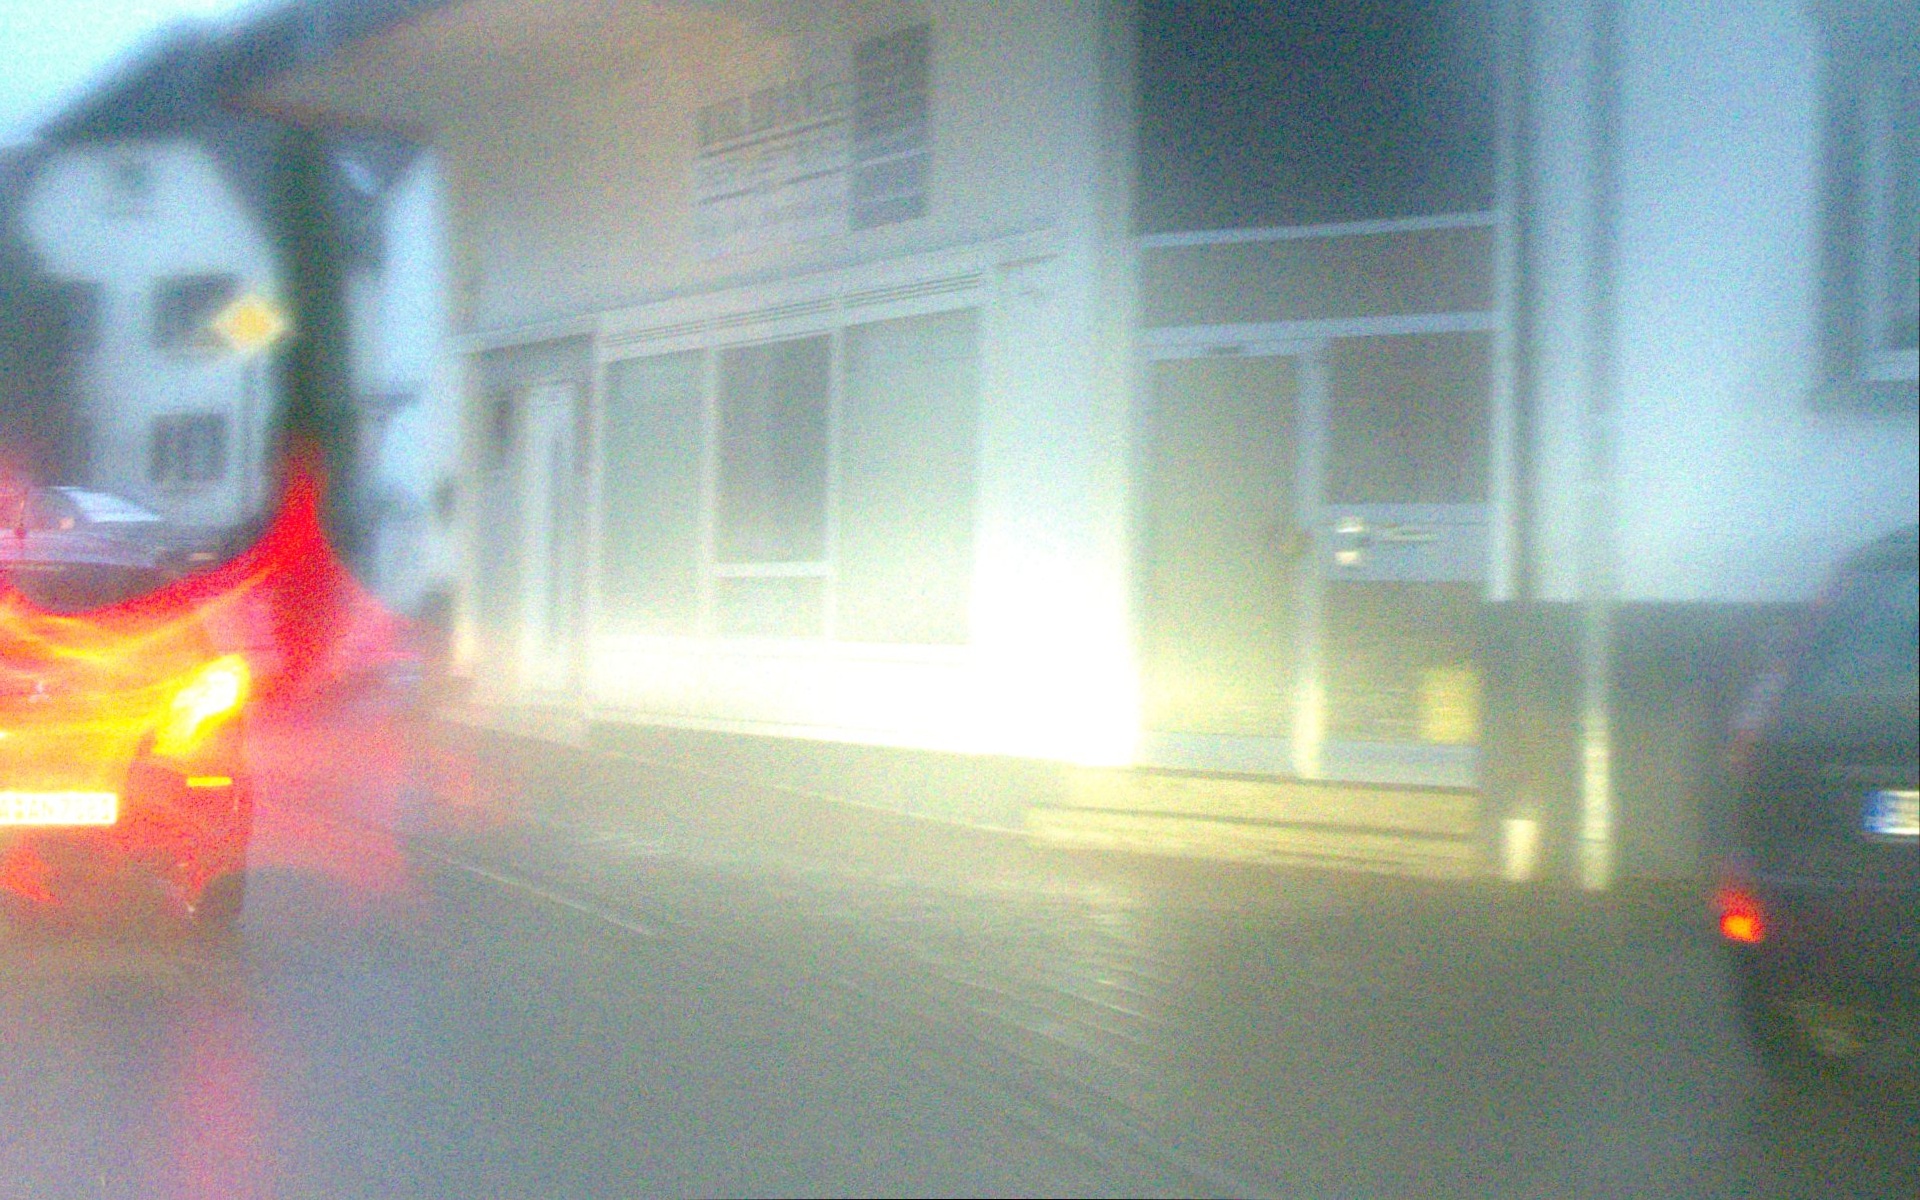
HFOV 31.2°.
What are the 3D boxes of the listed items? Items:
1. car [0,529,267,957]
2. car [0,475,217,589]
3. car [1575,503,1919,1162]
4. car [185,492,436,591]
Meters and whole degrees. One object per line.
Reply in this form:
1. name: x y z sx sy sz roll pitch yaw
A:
1. car: -4.000 0.456 13.637 1.546 1.461 3.699 1 1 -26
2. car: -13.551 -1.063 52.073 4.545 1.623 1.812 2 3 33
3. car: 3.496 0.430 9.207 1.887 1.445 3.885 -1 3 40
4. car: -10.908 -1.009 57.712 3.994 1.561 1.812 2 3 33
